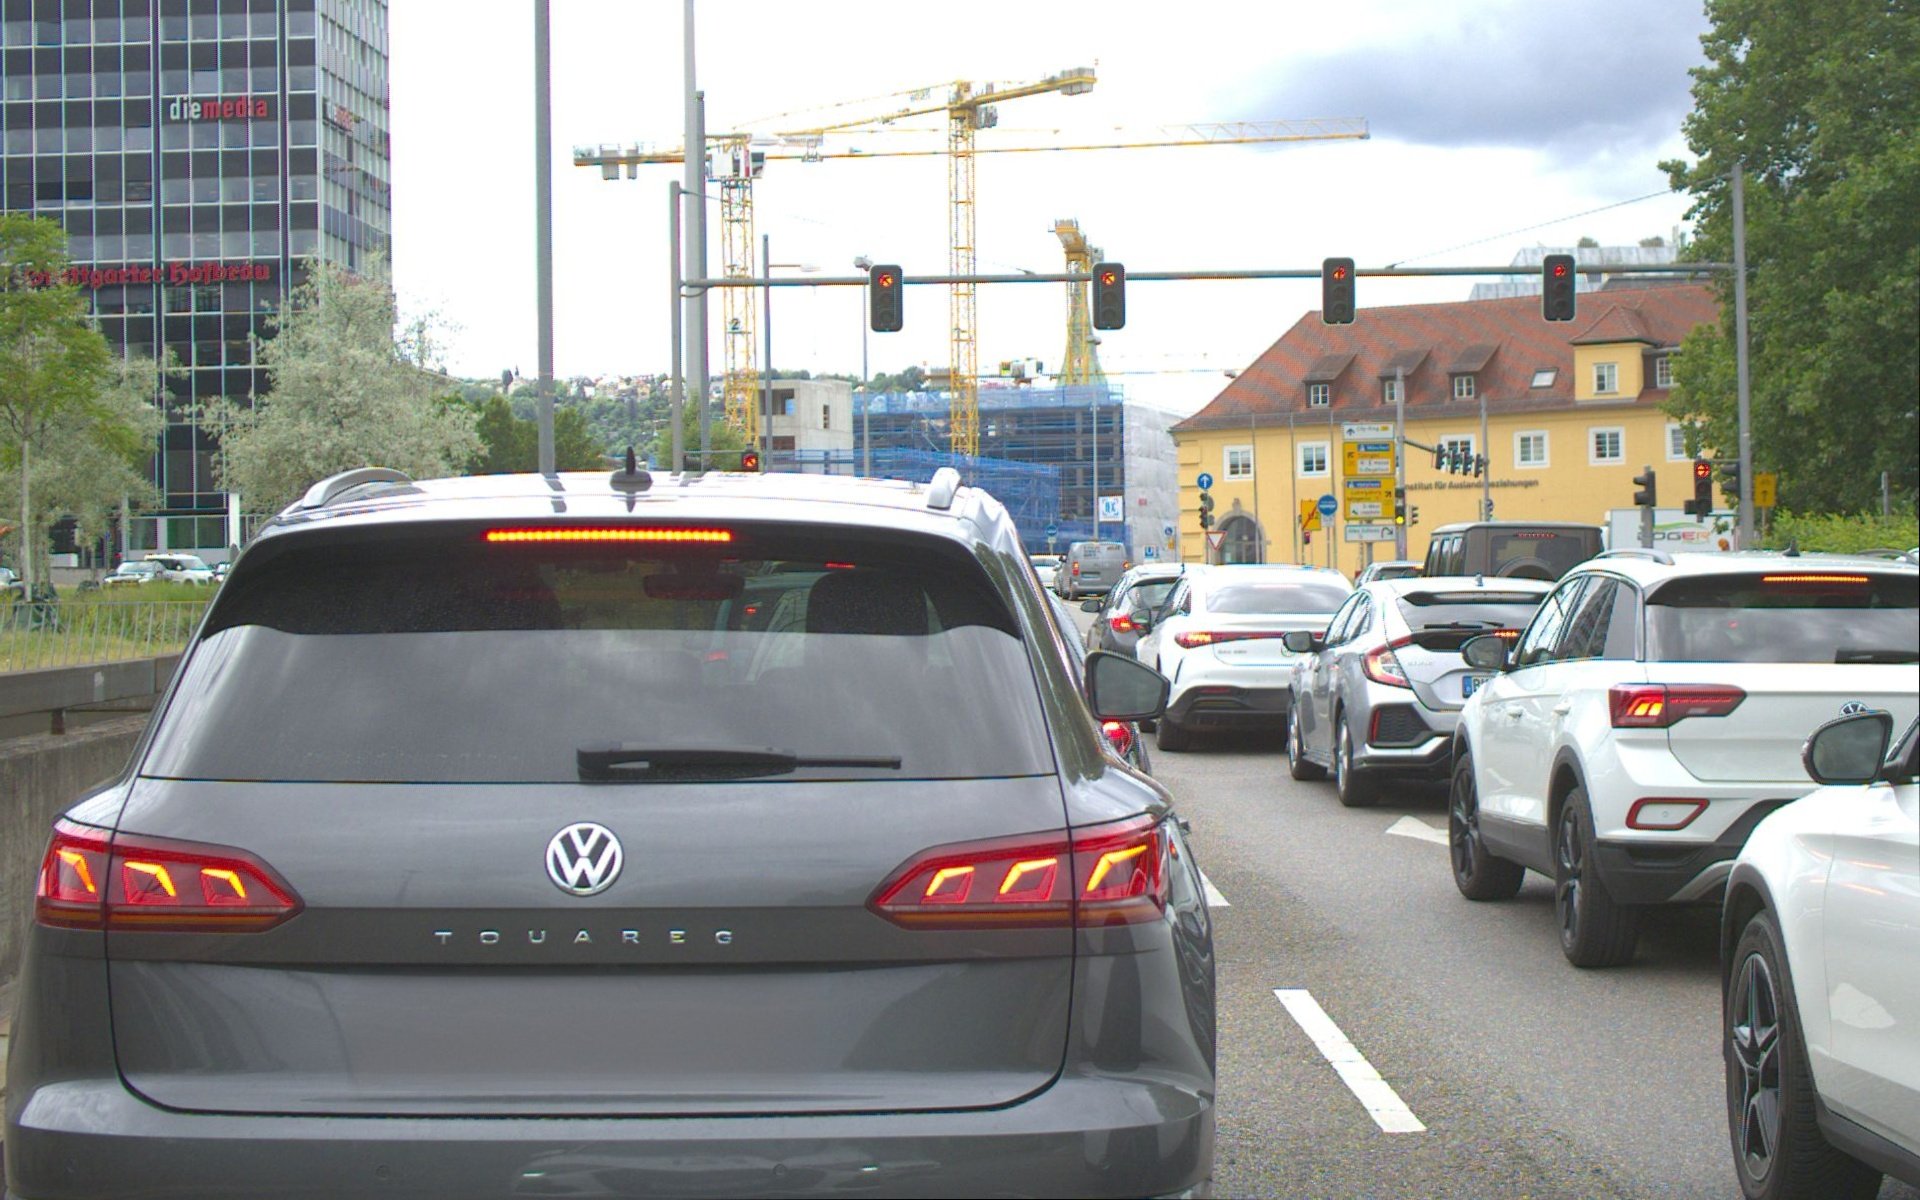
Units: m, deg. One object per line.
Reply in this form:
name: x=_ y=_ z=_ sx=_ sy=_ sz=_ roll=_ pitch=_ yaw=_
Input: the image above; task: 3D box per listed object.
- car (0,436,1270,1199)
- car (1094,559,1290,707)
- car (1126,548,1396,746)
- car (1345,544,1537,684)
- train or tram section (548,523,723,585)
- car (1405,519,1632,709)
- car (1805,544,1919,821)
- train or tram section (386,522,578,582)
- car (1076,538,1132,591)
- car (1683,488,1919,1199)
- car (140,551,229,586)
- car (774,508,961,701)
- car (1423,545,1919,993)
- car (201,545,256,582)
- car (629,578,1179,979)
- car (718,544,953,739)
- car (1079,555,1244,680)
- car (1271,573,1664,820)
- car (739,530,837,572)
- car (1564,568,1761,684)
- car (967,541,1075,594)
car: x=-0.572 y=0.575 z=6.811 sx=1.951 sy=1.646 sz=4.000 roll=0 pitch=1 yaw=-1
car: x=2.497 y=0.338 z=37.845 sx=1.926 sy=1.524 sz=4.047 roll=0 pitch=0 yaw=1
car: x=2.453 y=0.360 z=29.024 sx=1.926 sy=1.524 sz=4.489 roll=0 pitch=0 yaw=1
car: x=6.212 y=0.170 z=44.793 sx=1.910 sy=1.691 sz=4.012 roll=1 pitch=0 yaw=0
train or tram section: x=-16.712 y=-2.368 z=176.766 sx=8.935 sy=2.999 sz=2.592 roll=1 pitch=-1 yaw=28
car: x=6.302 y=0.141 z=39.177 sx=1.910 sy=2.007 sz=4.012 roll=1 pitch=0 yaw=0
car: x=6.693 y=0.472 z=21.193 sx=1.993 sy=1.634 sz=4.304 roll=0 pitch=1 yaw=1
train or tram section: x=-25.235 y=-2.546 z=181.335 sx=10.411 sy=2.999 sz=2.592 roll=1 pitch=-1 yaw=28
car: x=4.652 y=-1.139 z=111.469 sx=1.619 sy=1.622 sz=4.000 roll=1 pitch=-1 yaw=0
car: x=2.732 y=0.622 z=6.253 sx=1.926 sy=1.648 sz=4.490 roll=0 pitch=2 yaw=1
car: x=-36.969 y=-1.487 z=163.876 sx=4.222 sy=1.598 sz=1.749 roll=1 pitch=0 yaw=36
car: x=-1.013 y=0.024 z=38.683 sx=1.951 sy=2.011 sz=3.931 roll=1 pitch=1 yaw=-1
car: x=3.152 y=0.581 z=14.166 sx=1.926 sy=1.545 sz=4.489 roll=0 pitch=0 yaw=1
car: x=-31.941 y=-1.589 z=150.170 sx=1.732 sy=1.489 sz=3.595 roll=1 pitch=-1 yaw=-2
car: x=-0.231 y=0.633 z=14.374 sx=1.951 sy=1.379 sz=3.931 roll=1 pitch=1 yaw=-1
car: x=-1.081 y=0.327 z=31.026 sx=1.951 sy=1.594 sz=3.931 roll=1 pitch=1 yaw=-1
car: x=2.539 y=0.212 z=44.132 sx=1.926 sy=1.524 sz=4.047 roll=0 pitch=0 yaw=1
car: x=3.163 y=0.558 z=22.299 sx=1.926 sy=1.427 sz=4.489 roll=0 pitch=0 yaw=1
car: x=-8.497 y=-2.425 z=169.708 sx=4.454 sy=2.007 sz=1.996 roll=1 pitch=-1 yaw=34
car: x=9.325 y=0.323 z=45.883 sx=1.757 sy=1.442 sz=3.634 roll=1 pitch=0 yaw=-2
car: x=2.427 y=-1.298 z=137.167 sx=3.997 sy=2.007 sz=1.931 roll=1 pitch=-1 yaw=41
